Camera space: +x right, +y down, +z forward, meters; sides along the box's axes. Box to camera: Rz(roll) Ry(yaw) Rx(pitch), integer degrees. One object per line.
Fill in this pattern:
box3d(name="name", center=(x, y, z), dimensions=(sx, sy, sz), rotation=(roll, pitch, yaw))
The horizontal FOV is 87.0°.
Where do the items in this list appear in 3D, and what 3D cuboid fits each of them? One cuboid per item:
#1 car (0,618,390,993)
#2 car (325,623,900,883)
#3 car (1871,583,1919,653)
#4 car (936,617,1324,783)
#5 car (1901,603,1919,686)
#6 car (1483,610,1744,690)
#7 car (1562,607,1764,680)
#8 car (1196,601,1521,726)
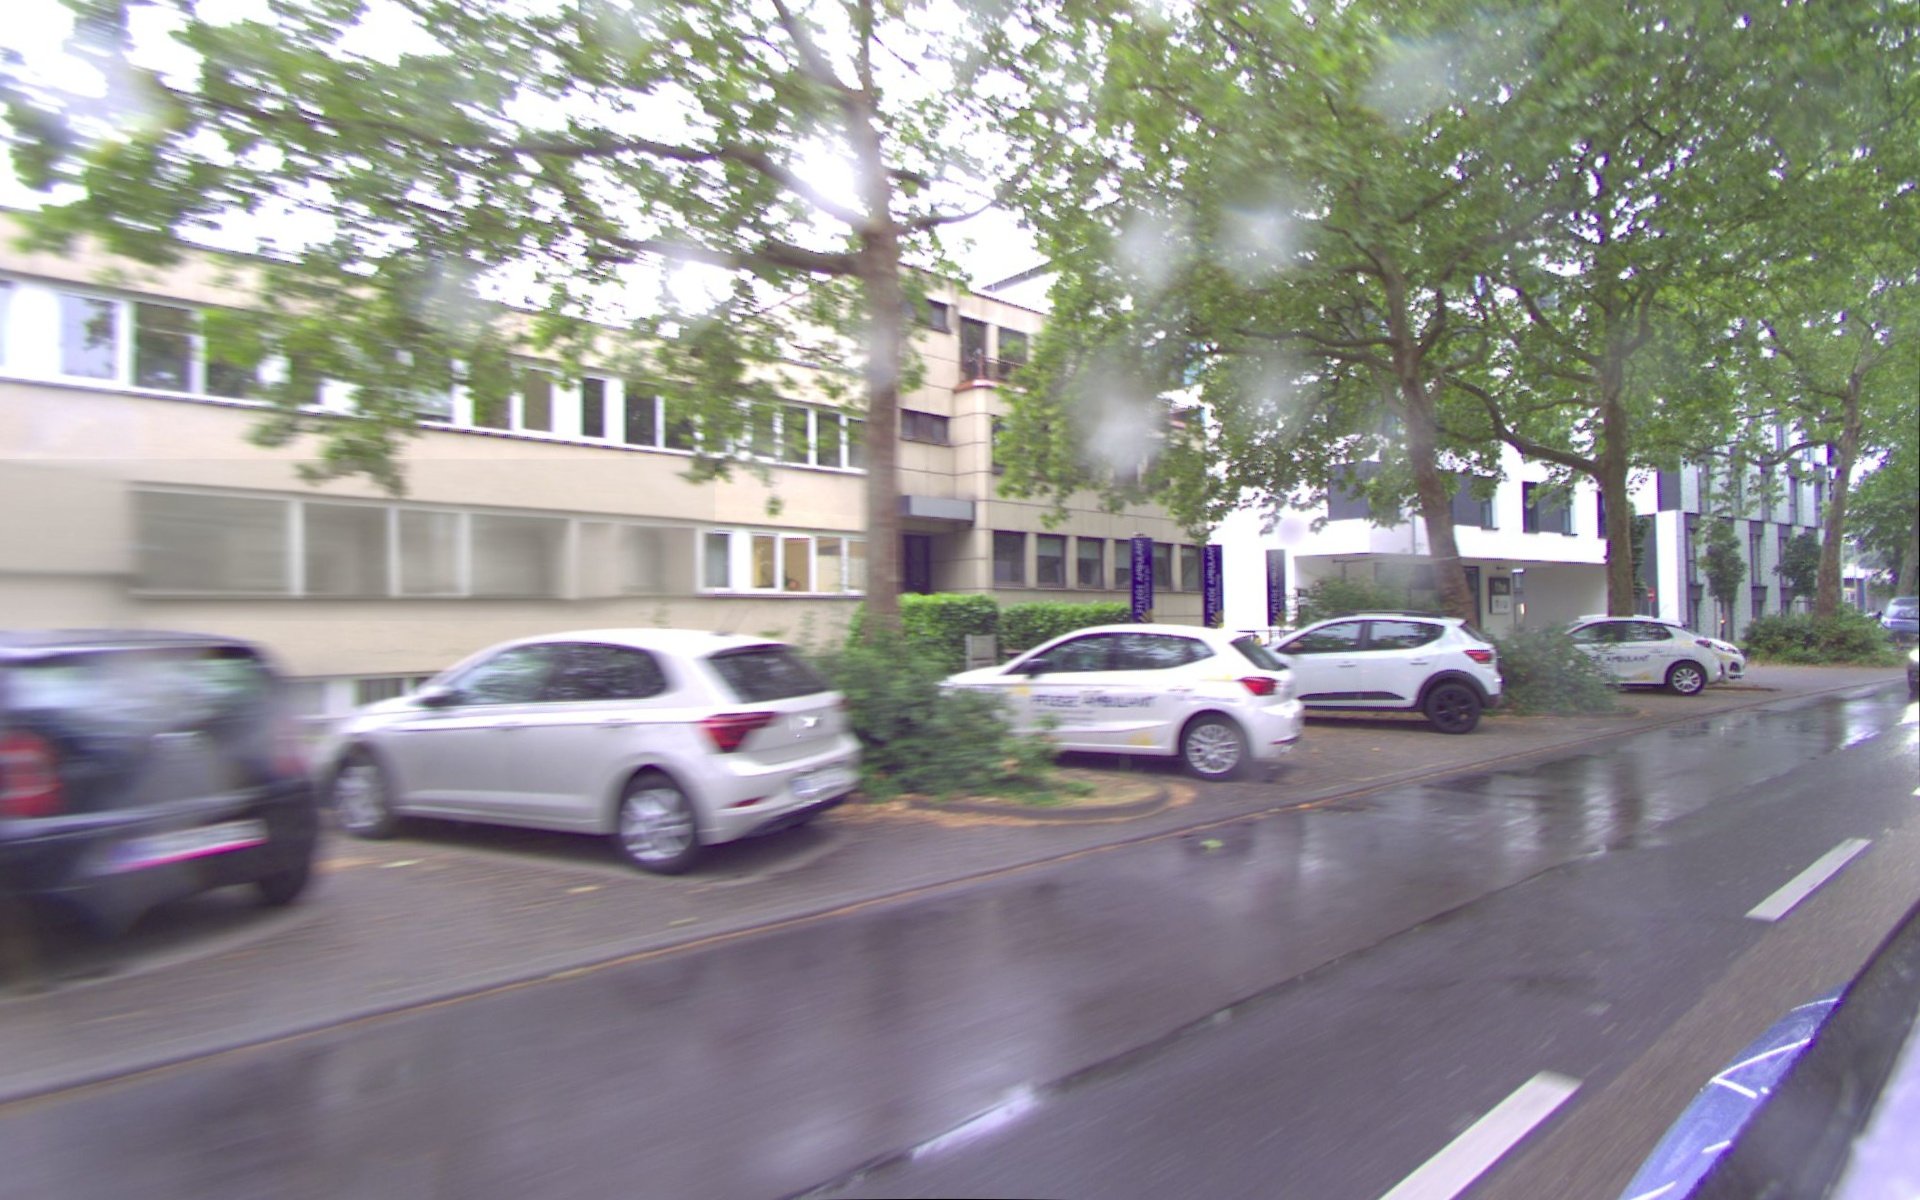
box3d(name="car", center=(-5.111, 0.835, 5.412), dimensions=(3.649, 1.434, 1.736), rotation=(-1, -1, 22))
box3d(name="car", center=(-2.449, 0.904, 7.226), dimensions=(3.649, 1.434, 1.762), rotation=(-1, -1, 22))
box3d(name="car", center=(30.600, 0.528, 31.374), dimensions=(5.420, 2.054, 2.129), rotation=(0, -1, -33))
box3d(name="car", center=(1.757, 0.919, 10.526), dimensions=(3.655, 1.434, 1.733), rotation=(-1, -1, 26))
box3d(name="car", center=(21.317, 0.844, 20.752), dimensions=(5.486, 1.615, 1.998), rotation=(0, -1, -37))
box3d(name="car", center=(12.607, 0.936, 19.831), dimensions=(3.991, 1.446, 1.735), rotation=(-1, -1, 23))
box3d(name="car", center=(15.820, 0.929, 22.865), dimensions=(3.627, 1.524, 1.724), rotation=(0, -1, 39))
box3d(name="car", center=(5.467, 0.826, 14.252), dimensions=(3.989, 1.559, 1.737), rotation=(-1, -1, 21))
